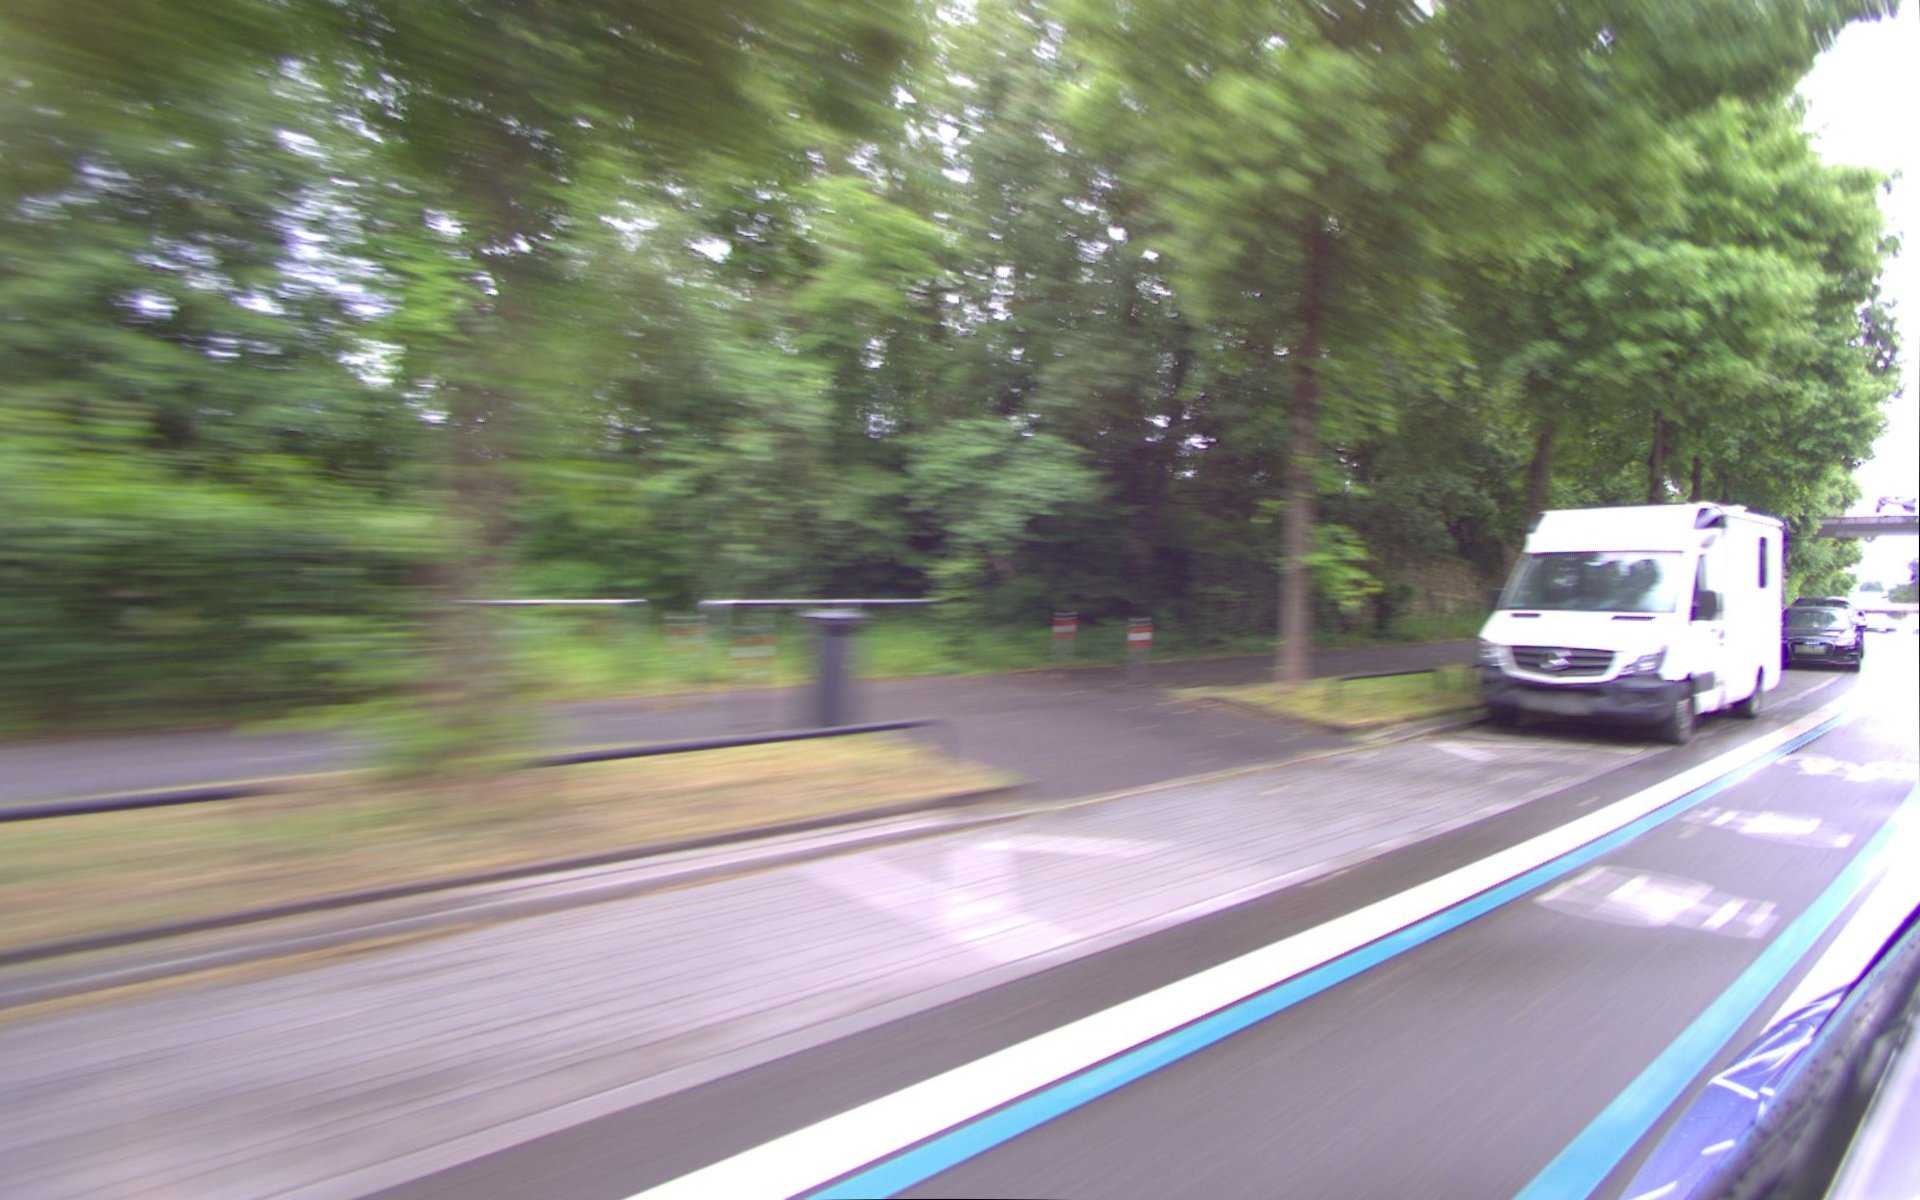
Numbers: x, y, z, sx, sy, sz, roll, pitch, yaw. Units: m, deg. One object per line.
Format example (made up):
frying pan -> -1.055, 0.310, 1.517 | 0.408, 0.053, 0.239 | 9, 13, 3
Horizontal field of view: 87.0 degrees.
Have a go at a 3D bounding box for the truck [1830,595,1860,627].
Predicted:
truck -> 67.726, 0.872, 77.464 | 1.717, 2.363, 3.939 | 1, -1, 41

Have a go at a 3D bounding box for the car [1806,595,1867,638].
car -> 33.121, 0.587, 38.225 | 1.660, 1.554, 3.685 | 0, 0, 42

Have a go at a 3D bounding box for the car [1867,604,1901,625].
car -> 68.354, 1.073, 74.885 | 1.720, 1.416, 4.521 | 1, -1, 41

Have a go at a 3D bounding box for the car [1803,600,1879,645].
car -> 29.951, 0.705, 34.371 | 1.775, 1.365, 4.396 | 0, 1, 43

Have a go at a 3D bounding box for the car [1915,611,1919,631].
car -> 71.938, 1.582, 74.796 | 1.822, 1.481, 3.823 | 0, -2, 41

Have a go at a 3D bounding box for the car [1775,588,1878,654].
car -> 24.492, 0.550, 28.555 | 1.993, 1.666, 4.280 | -2, 0, 43

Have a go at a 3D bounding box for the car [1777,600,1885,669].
car -> 20.570, 0.744, 23.859 | 1.679, 1.393, 3.936 | 1, 2, 44

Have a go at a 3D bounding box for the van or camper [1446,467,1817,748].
van or camper -> 8.631, 0.067, 12.675 | 6.270, 2.698, 2.321 | 0, 0, -41

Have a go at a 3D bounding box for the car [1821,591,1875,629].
car -> 40.502, 0.439, 46.224 | 1.711, 1.639, 4.199 | 1, 1, 40
